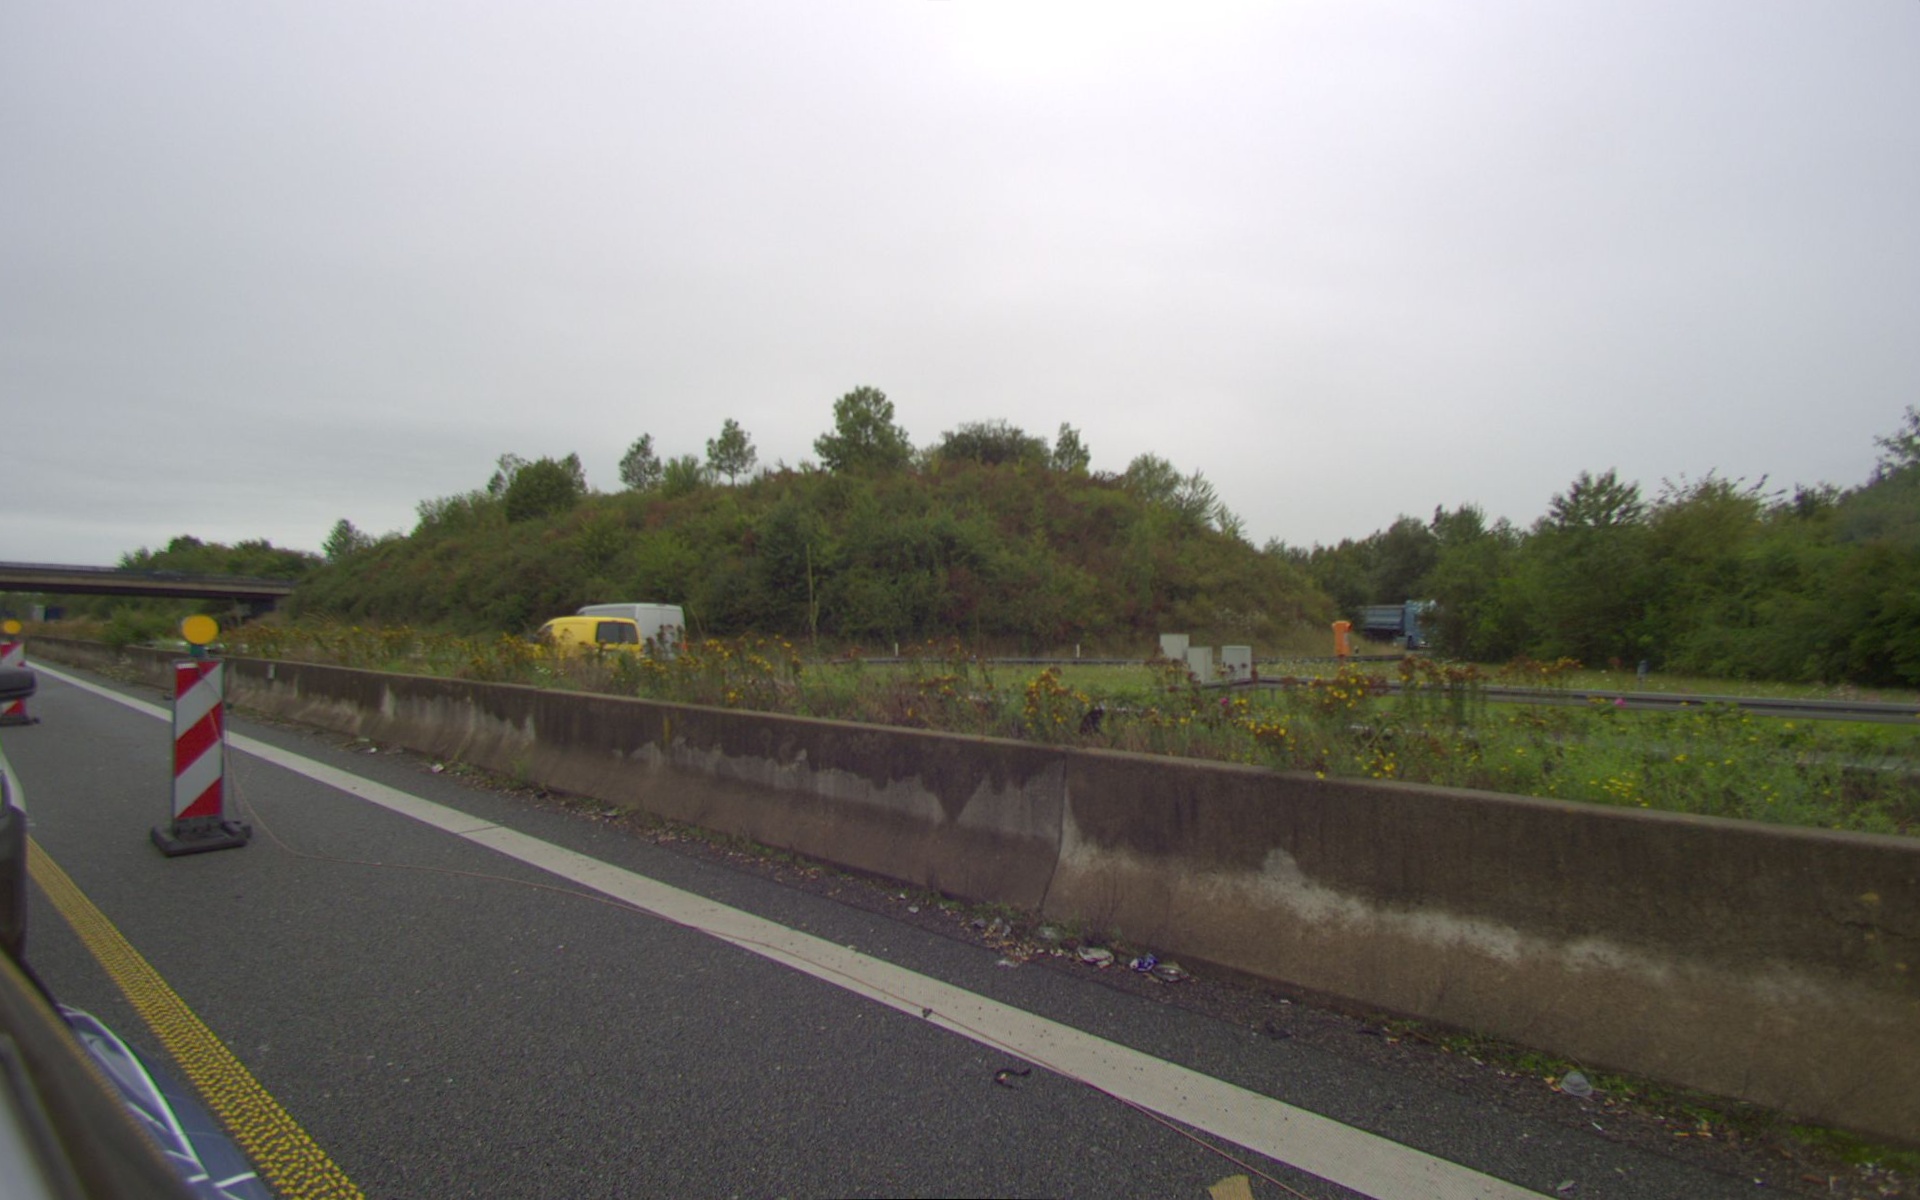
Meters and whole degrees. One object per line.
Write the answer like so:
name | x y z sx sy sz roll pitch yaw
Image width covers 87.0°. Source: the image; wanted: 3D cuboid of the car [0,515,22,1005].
car | -5.806 0.636 4.619 4.645 1.798 1.747 -1 -1 41

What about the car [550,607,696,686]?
car | -11.520 1.548 34.324 5.884 2.459 2.214 -2 -3 44

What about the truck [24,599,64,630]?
truck | -140.760 2.198 155.400 17.291 4.558 3.369 -1 -1 44

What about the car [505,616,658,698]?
car | -10.473 1.521 27.822 4.777 2.063 1.972 -2 -3 42
